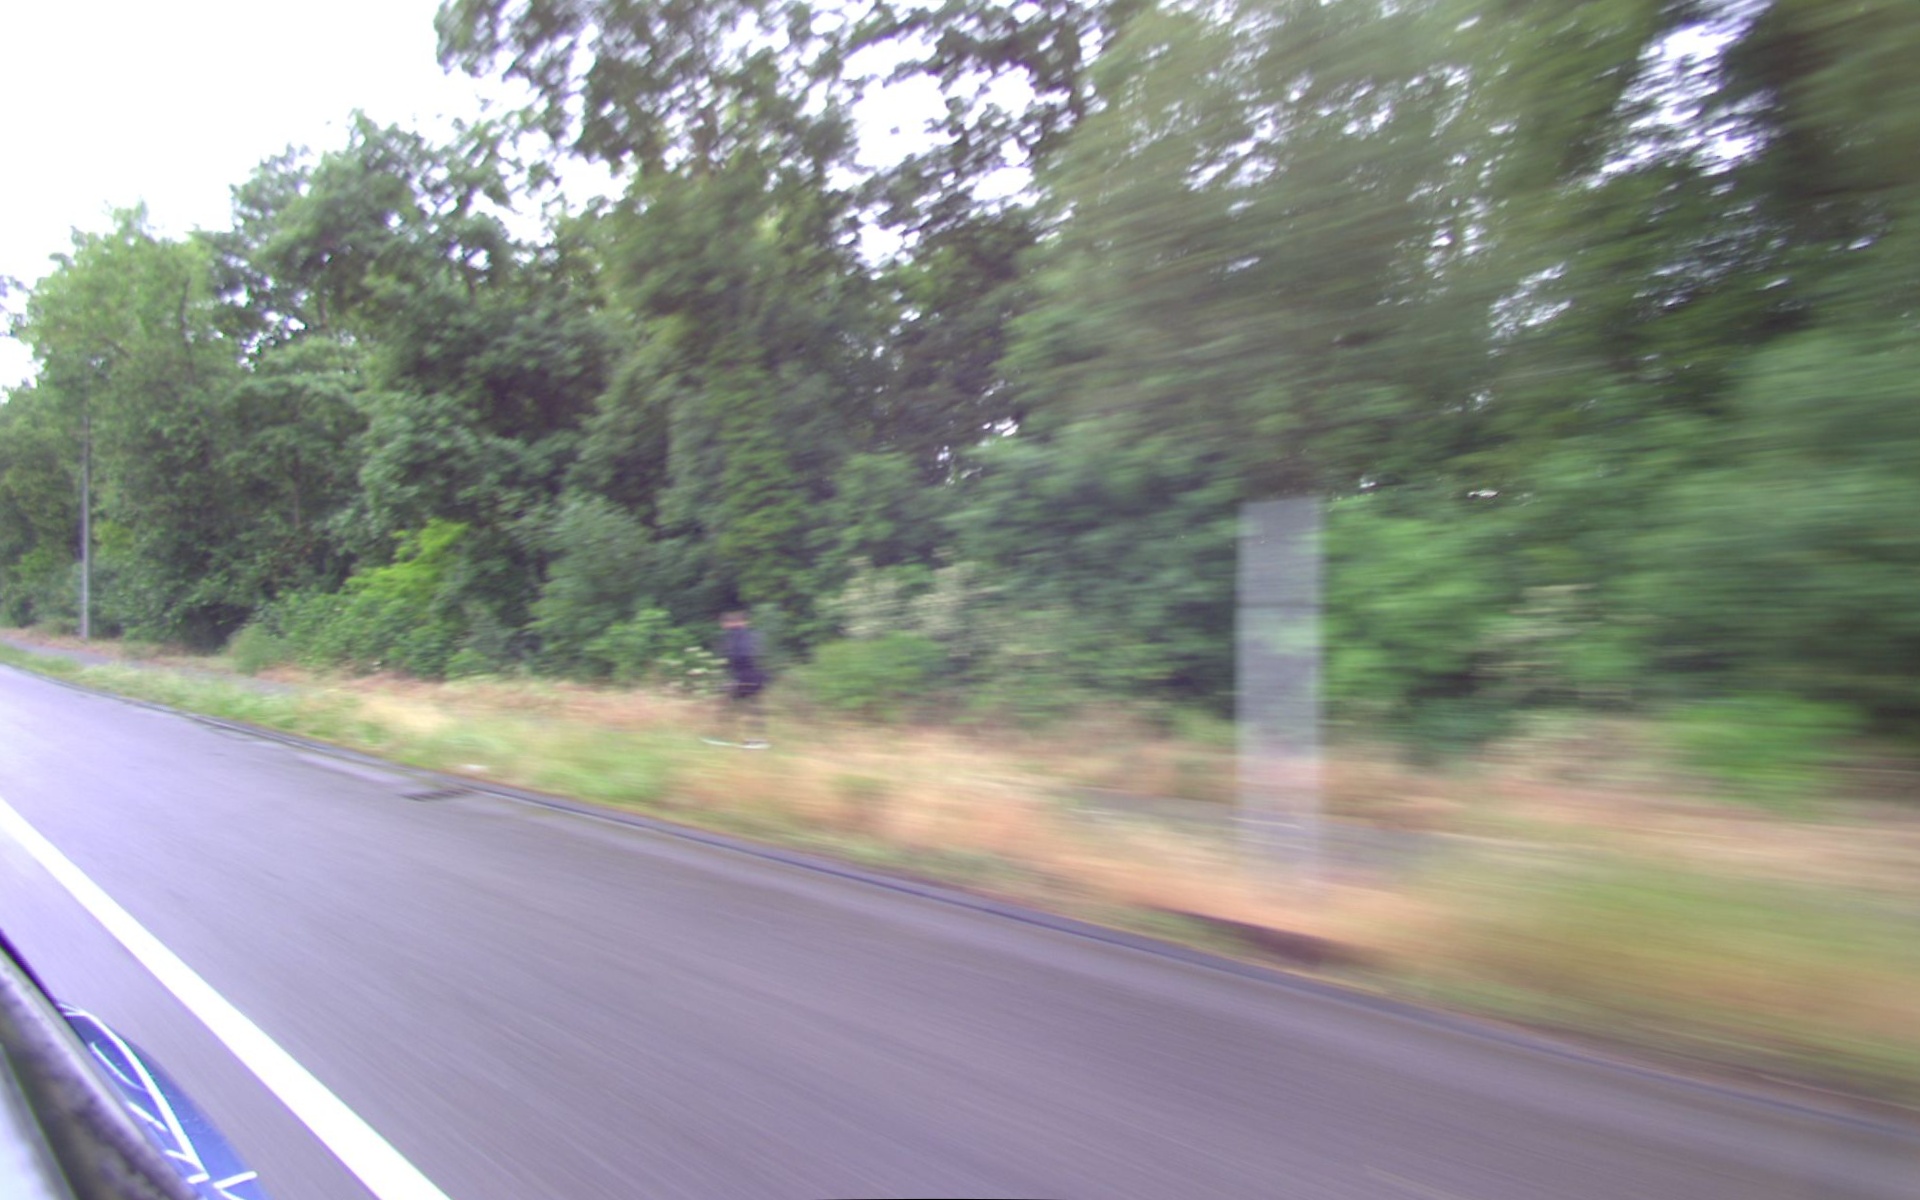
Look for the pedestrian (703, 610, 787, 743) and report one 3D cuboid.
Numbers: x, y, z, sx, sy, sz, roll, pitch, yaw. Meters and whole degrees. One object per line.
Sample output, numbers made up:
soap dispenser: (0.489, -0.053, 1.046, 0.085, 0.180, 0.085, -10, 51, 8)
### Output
pedestrian: (-2.734, 0.942, 12.886, 0.732, 1.620, 0.773, -1, -1, 40)
